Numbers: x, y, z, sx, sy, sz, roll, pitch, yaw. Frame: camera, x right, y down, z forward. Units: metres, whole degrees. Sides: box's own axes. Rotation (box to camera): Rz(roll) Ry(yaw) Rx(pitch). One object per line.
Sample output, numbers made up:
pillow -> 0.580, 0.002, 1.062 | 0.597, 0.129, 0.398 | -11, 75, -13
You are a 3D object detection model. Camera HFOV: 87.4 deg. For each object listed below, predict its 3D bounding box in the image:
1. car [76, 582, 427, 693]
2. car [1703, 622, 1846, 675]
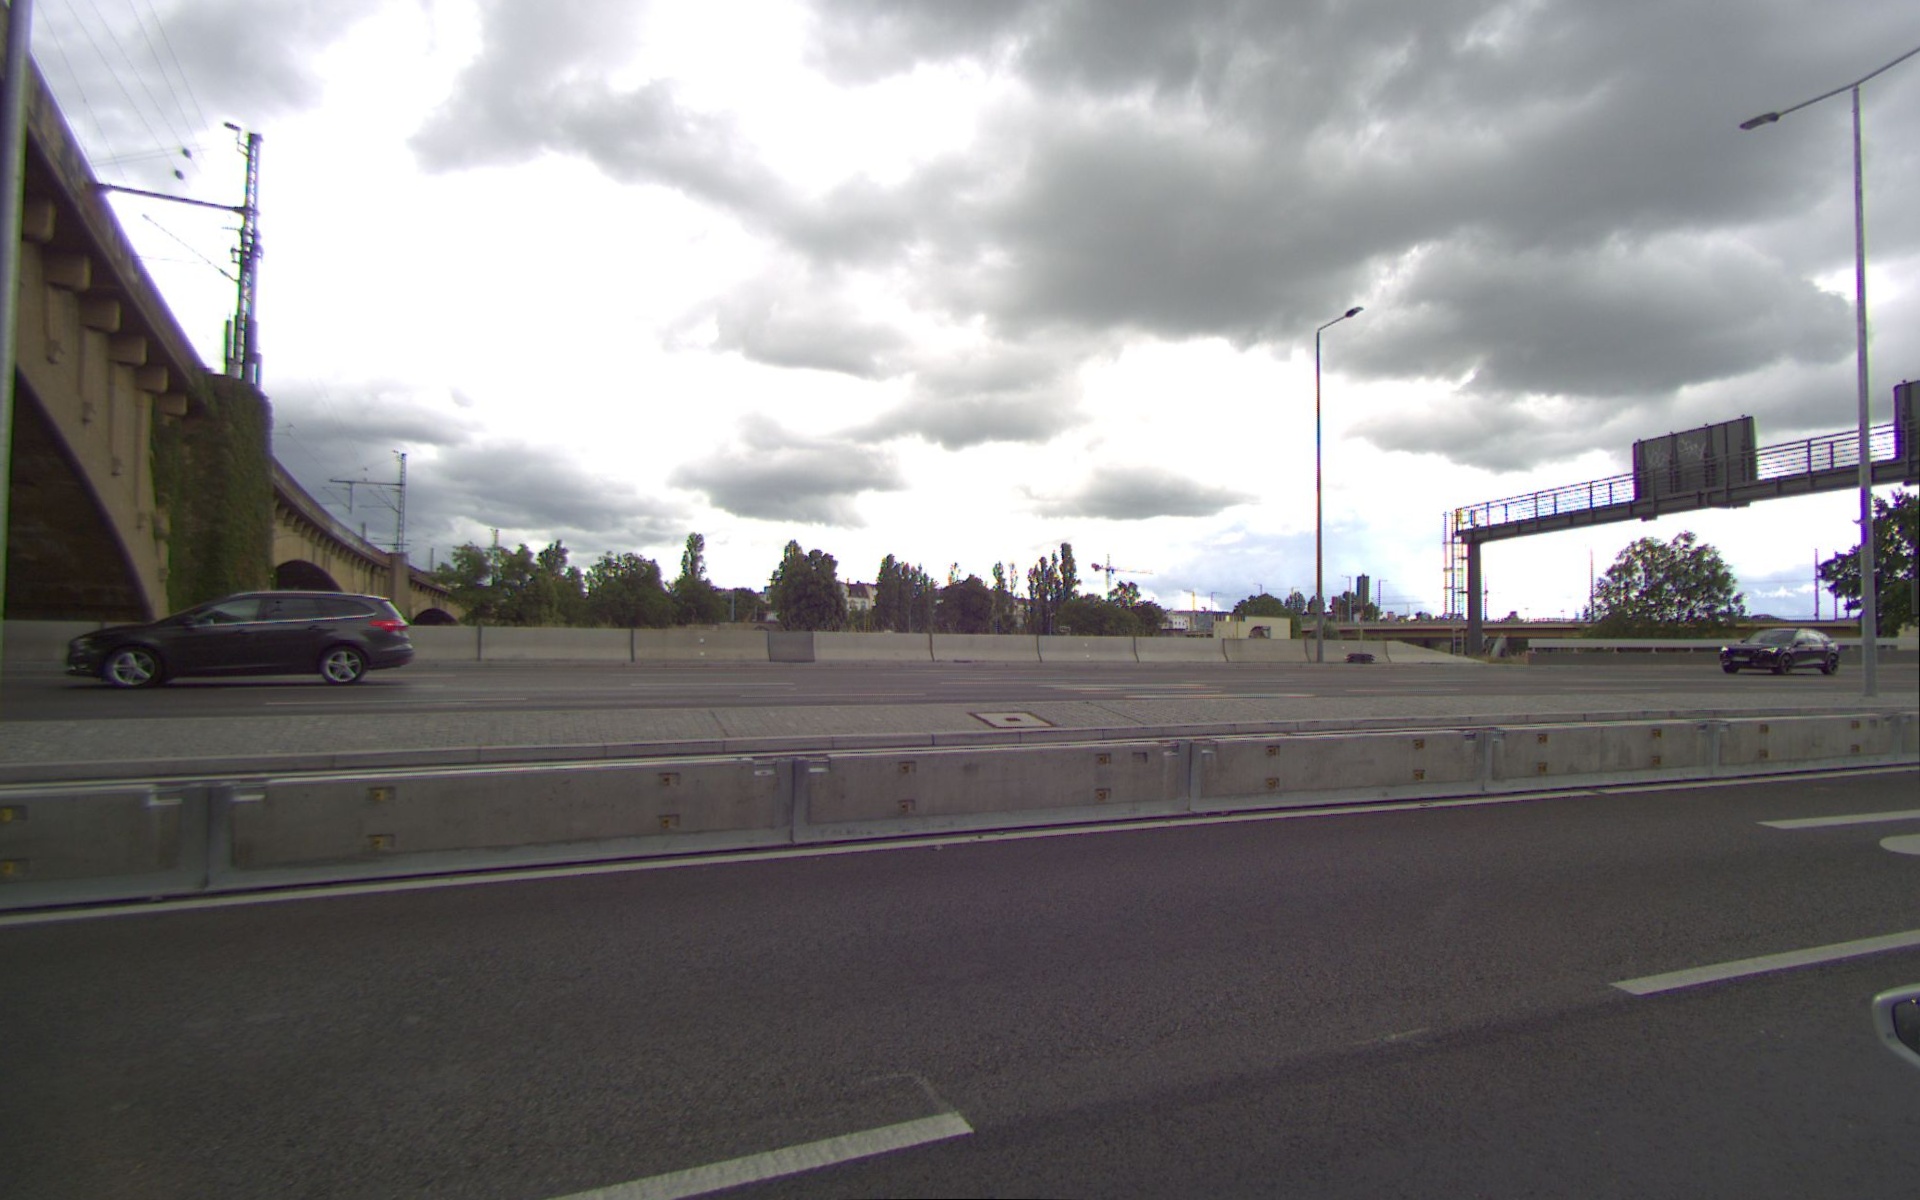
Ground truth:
car -> -11.128, 0.588, 16.134 | 4.356, 1.557, 1.806 | 2, -1, -34
car -> 27.846, 1.657, 34.367 | 4.074, 1.606, 1.990 | 2, 1, -21
